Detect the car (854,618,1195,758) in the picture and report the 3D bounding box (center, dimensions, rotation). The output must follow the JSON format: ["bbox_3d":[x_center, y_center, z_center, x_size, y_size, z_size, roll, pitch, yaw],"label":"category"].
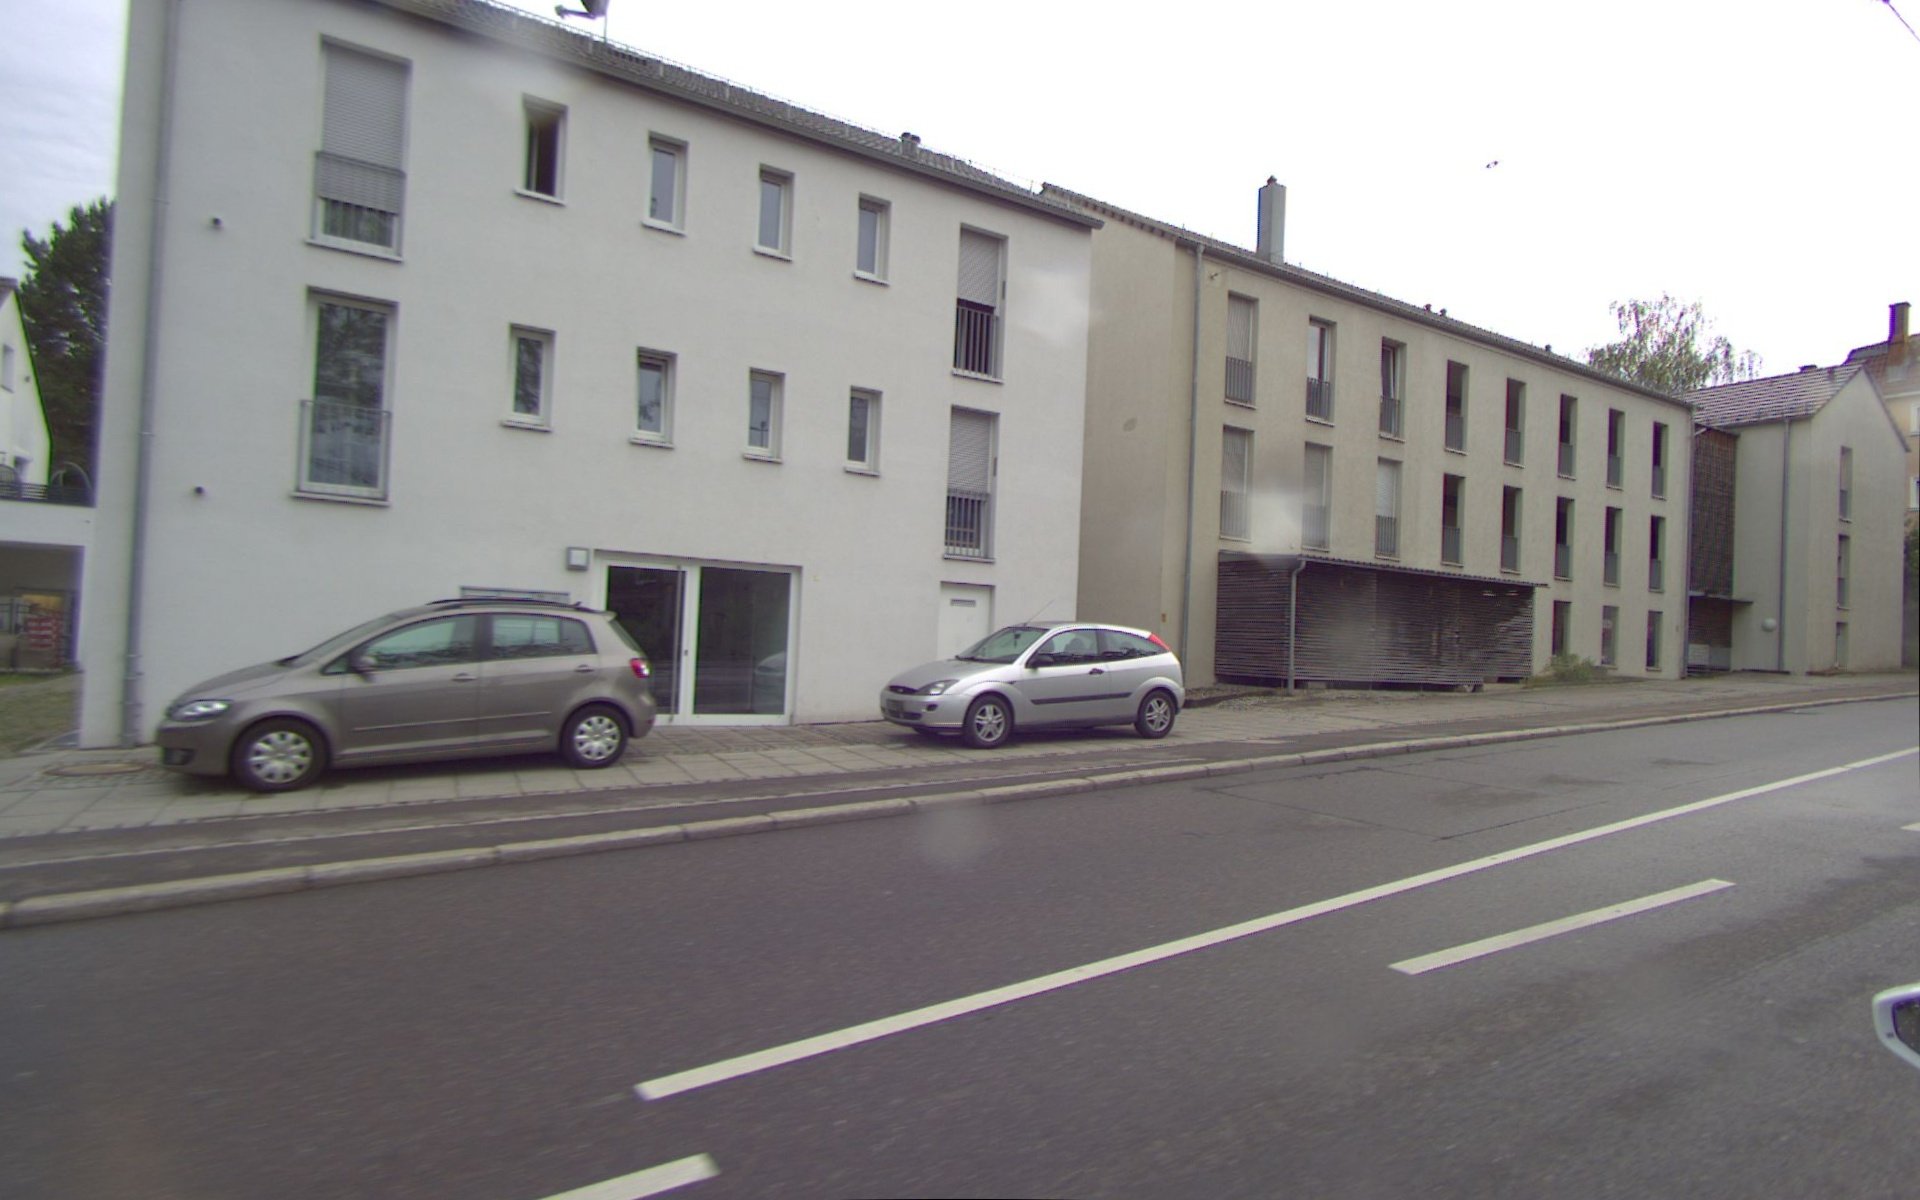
[{"bbox_3d":[0.879,1.026,12.901,4.129,1.528,1.737,1,-1,-30],"label":"car"}]

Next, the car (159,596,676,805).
[{"bbox_3d":[-5.004,0.815,9.639,4.042,1.573,1.734,1,1,-35],"label":"car"}]
